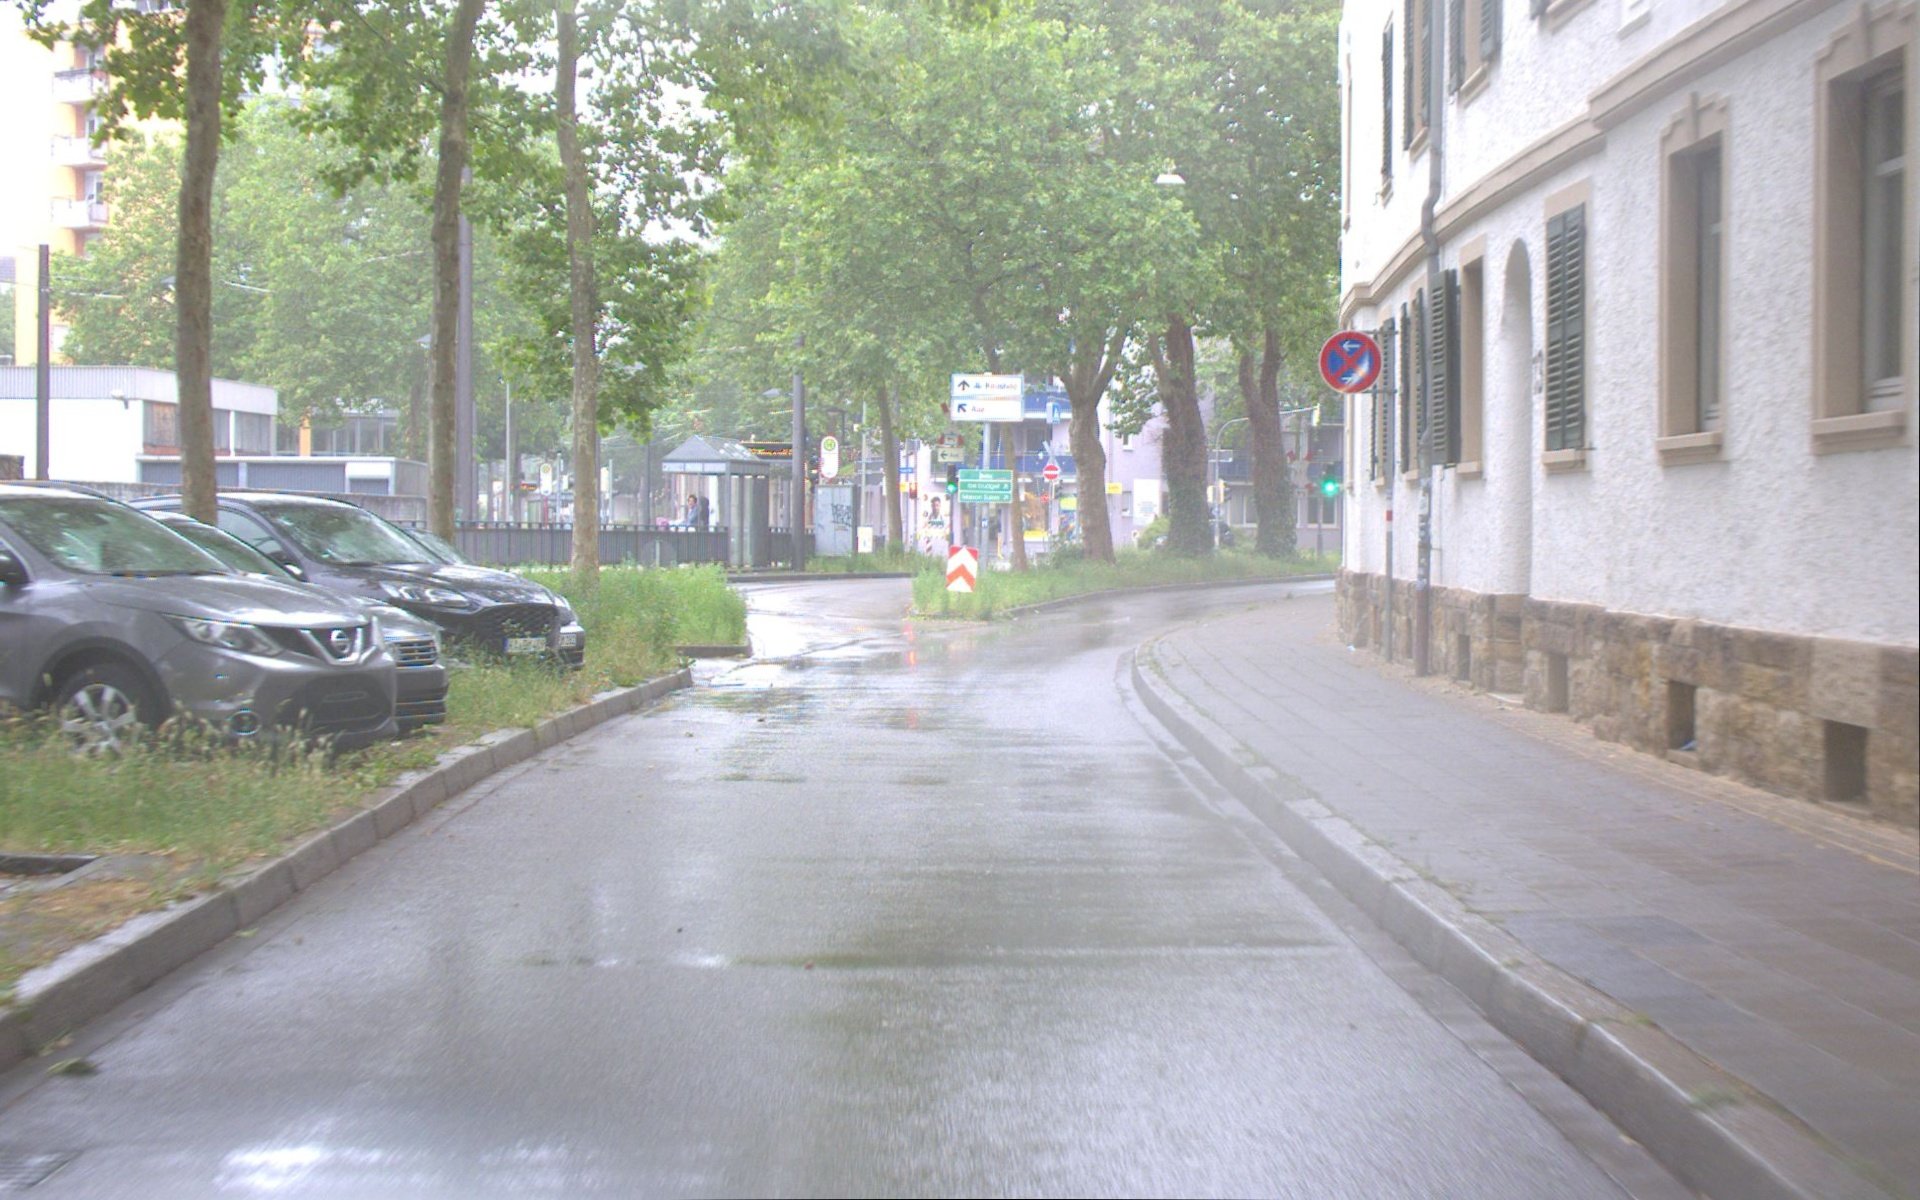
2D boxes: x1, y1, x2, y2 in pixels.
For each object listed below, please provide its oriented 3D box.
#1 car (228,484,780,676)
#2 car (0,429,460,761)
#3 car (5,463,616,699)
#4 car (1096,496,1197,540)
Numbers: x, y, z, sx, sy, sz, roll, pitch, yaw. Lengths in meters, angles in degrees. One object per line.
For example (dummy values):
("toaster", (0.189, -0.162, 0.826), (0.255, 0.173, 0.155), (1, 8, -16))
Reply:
("car", (-3.886, -0.212, 29.156), (4.358, 1.507, 1.957), (1, 2, 31))
("car", (-5.137, -0.105, 18.588), (4.465, 1.591, 1.920), (3, 1, 26))
("car", (-5.116, -0.196, 26.945), (4.525, 1.709, 1.957), (1, 2, 31))
("car", (7.886, -3.461, 145.235), (3.988, 1.592, 1.999), (3, 0, -43))
